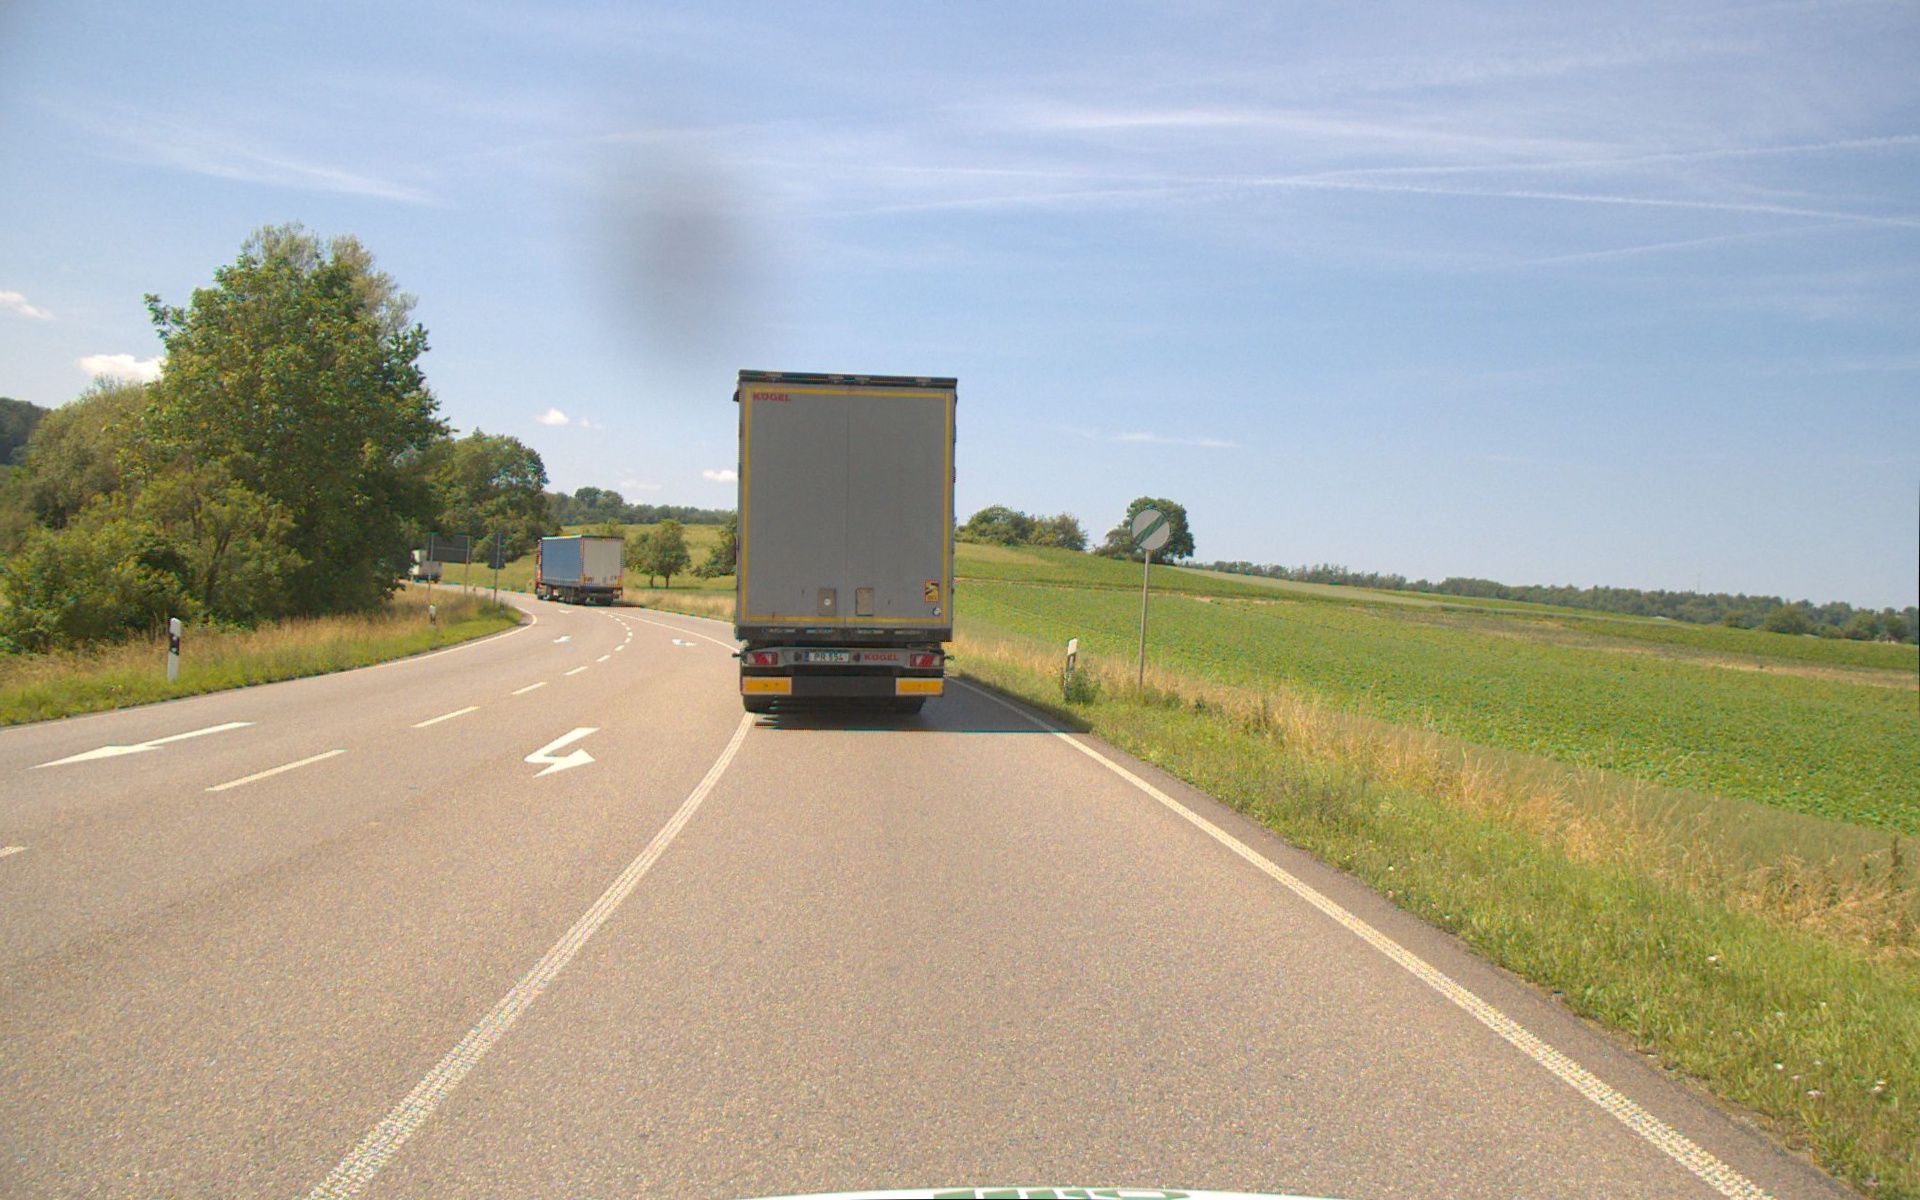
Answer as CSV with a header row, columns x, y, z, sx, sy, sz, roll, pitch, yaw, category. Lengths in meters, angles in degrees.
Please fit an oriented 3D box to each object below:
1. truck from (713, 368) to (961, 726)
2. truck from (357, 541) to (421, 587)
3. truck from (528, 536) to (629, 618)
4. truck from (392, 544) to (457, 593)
x,y,z,sx,sy,sz,roll,pitch,yaw,category
-1.907,-0.595,23.552,2.754,4.015,9.577,1,0,-6,truck
-59.937,-3.699,173.406,3.493,4.315,13.264,5,-2,-31,truck
-24.214,-1.491,103.982,2.922,4.664,16.193,3,0,-24,truck
-51.775,-2.954,159.744,3.595,4.201,12.977,4,-2,-28,truck
